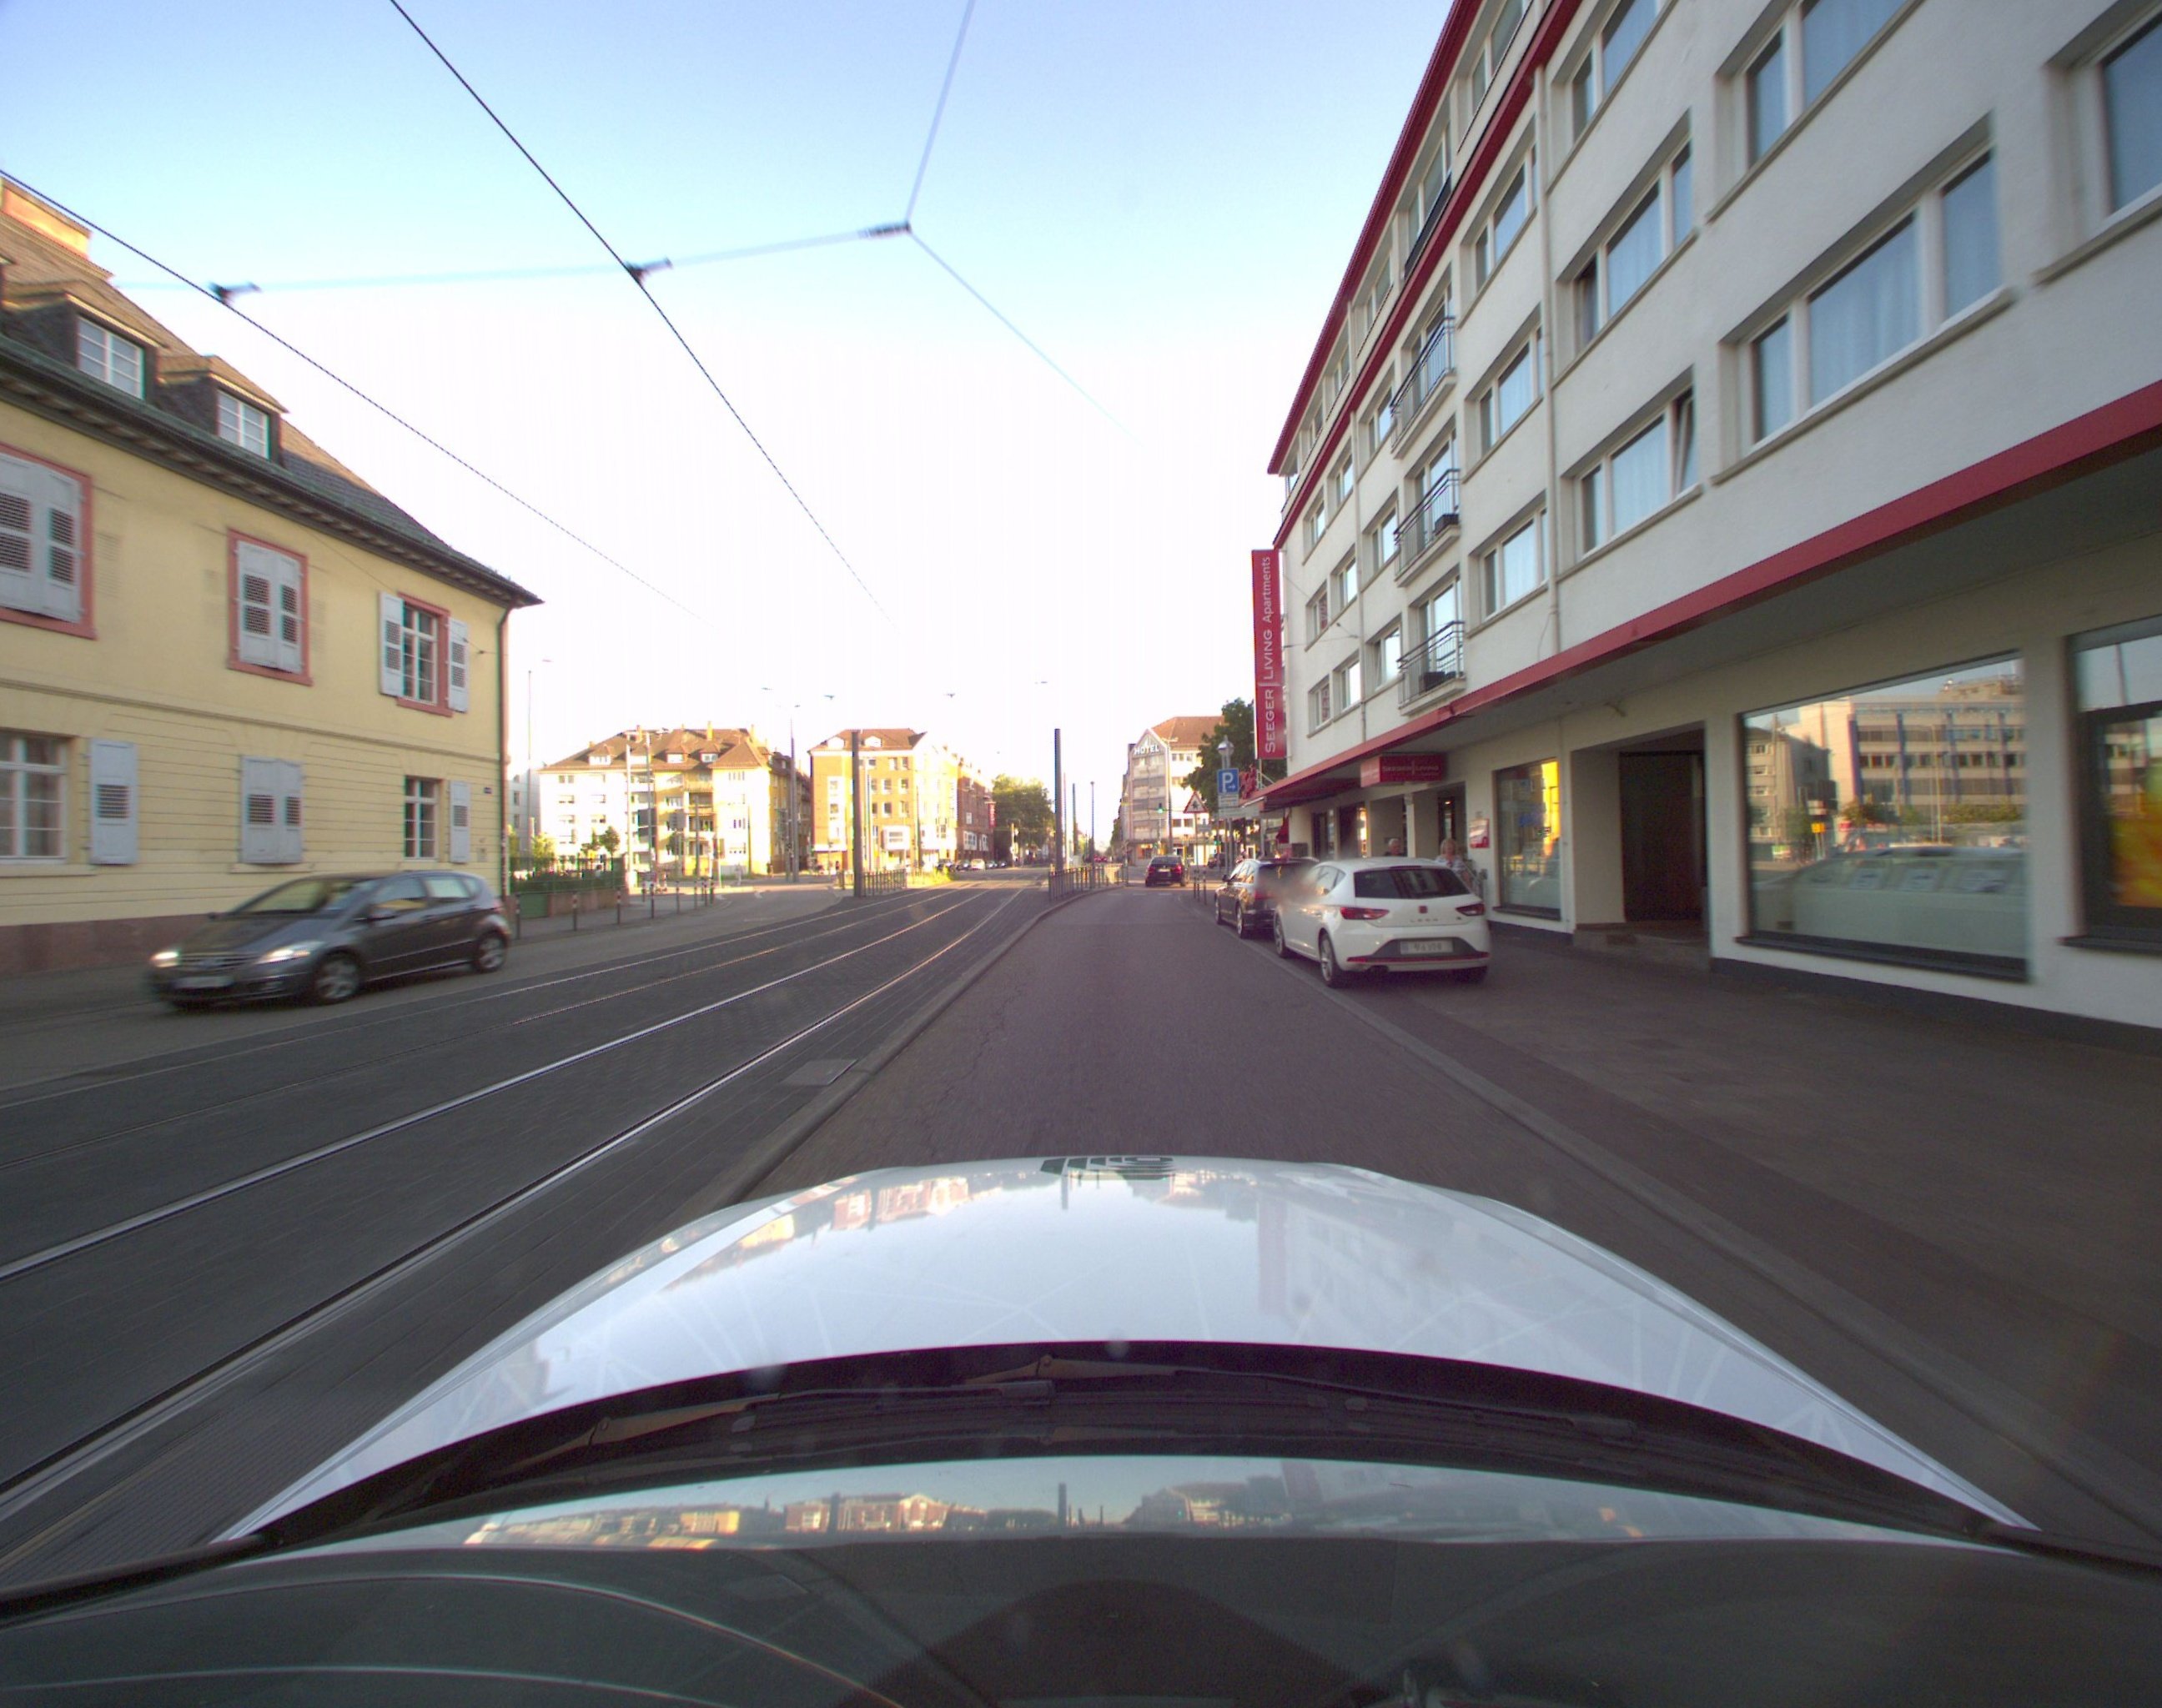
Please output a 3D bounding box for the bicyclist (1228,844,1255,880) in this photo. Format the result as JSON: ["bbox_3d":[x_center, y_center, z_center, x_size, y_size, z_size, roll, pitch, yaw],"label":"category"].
[{"bbox_3d":[8.775,0.443,44.507,0.844,1.917,1.103,-1,-1,-35],"label":"bicyclist"}]

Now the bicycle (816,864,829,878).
[{"bbox_3d":[-25.741,1.719,81.140,0.616,1.325,2.014,1,0,-2],"label":"bicycle"}]

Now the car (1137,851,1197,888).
[{"bbox_3d":[4.117,0.709,38.455,1.978,1.585,4.018,-2,0,18],"label":"car"}]

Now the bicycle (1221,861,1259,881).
[{"bbox_3d":[8.698,0.939,44.604,0.844,1.020,2.055,-1,0,-35],"label":"bicycle"}]

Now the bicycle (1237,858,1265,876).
[{"bbox_3d":[11.719,0.900,56.178,1.891,1.235,0.670,-1,-1,12],"label":"bicycle"}]

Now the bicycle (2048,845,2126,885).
[{"bbox_3d":[32.418,0.339,26.276,0.696,1.220,2.125,-1,1,24],"label":"bicycle"}]

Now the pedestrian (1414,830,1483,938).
[{"bbox_3d":[6.228,0.491,13.841,0.726,1.741,0.863,-3,-1,2],"label":"pedestrian"}]

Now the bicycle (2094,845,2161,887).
[{"bbox_3d":[33.149,0.349,25.626,0.696,1.220,2.125,-1,1,24],"label":"bicycle"}]

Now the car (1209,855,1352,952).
[{"bbox_3d":[3.651,0.821,15.733,1.728,1.512,4.688,-3,0,2],"label":"car"}]

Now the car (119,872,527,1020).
[{"bbox_3d":[-9.718,1.053,10.986,1.730,1.512,4.033,-2,0,-1],"label":"car"}]

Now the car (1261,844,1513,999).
[{"bbox_3d":[3.606,0.708,10.438,1.778,1.512,4.054,-3,0,2],"label":"car"}]

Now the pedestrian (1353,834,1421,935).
[{"bbox_3d":[5.446,0.532,14.541,0.823,1.718,0.843,-3,-1,2],"label":"pedestrian"}]

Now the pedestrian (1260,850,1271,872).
[{"bbox_3d":[14.761,0.563,65.149,0.719,1.667,0.672,-1,-1,5],"label":"pedestrian"}]

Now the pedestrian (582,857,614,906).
[{"bbox_3d":[-18.821,1.073,31.725,0.720,1.893,0.770,-2,-1,25],"label":"pedestrian"}]

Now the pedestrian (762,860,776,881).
[{"bbox_3d":[-29.855,1.582,77.881,1.099,1.944,1.019,-1,-1,-18],"label":"pedestrian"}]

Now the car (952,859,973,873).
[{"bbox_3d":[-14.807,1.503,102.222,1.987,1.585,4.585,-2,0,-1],"label":"car"}]

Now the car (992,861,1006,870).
[{"bbox_3d":[-14.734,2.093,146.380,1.987,1.585,4.477,-2,0,-1],"label":"car"}]

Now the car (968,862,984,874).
[{"bbox_3d":[-14.814,1.965,115.136,1.989,1.585,4.108,-2,0,-3],"label":"car"}]

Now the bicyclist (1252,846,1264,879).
[{"bbox_3d":[9.872,0.450,45.498,0.464,1.830,0.558,-1,-1,-7],"label":"bicyclist"}]

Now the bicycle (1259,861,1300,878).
[{"bbox_3d":[10.581,0.825,43.417,1.988,0.881,0.845,-1,-1,25],"label":"bicycle"}]

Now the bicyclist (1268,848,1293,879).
[{"bbox_3d":[10.632,0.517,43.392,1.101,1.623,0.845,-2,-1,25],"label":"bicyclist"}]

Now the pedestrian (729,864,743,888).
[{"bbox_3d":[-27.314,1.723,64.481,0.885,1.868,0.970,-1,-1,-19],"label":"pedestrian"}]

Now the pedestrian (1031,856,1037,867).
[{"bbox_3d":[-8.713,1.331,150.297,0.984,2.014,0.726,0,-1,0],"label":"pedestrian"}]

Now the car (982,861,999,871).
[{"bbox_3d":[-14.744,1.935,133.009,1.659,1.448,4.212,-1,0,9],"label":"car"}]

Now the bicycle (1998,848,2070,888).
[{"bbox_3d":[31.209,0.426,26.713,0.696,1.220,2.125,-1,1,24],"label":"bicycle"}]

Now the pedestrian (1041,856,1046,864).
[{"bbox_3d":[-8.068,1.385,175.185,0.720,1.681,0.992,-1,-1,4],"label":"pedestrian"}]

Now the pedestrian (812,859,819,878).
[{"bbox_3d":[-26.330,1.438,80.852,0.501,1.868,0.562,1,-1,-4],"label":"pedestrian"}]

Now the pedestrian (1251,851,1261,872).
[{"bbox_3d":[13.968,0.586,65.040,0.681,1.667,0.672,-1,-1,5],"label":"pedestrian"}]

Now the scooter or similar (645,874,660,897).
[{"bbox_3d":[-24.812,1.828,47.146,0.520,1.272,1.242,-1,-1,-38],"label":"scooter or similar"}]

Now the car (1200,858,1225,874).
[{"bbox_3d":[13.206,1.173,81.813,1.986,1.552,4.002,-2,0,2],"label":"car"}]

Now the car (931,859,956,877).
[{"bbox_3d":[-15.533,1.553,92.106,1.988,1.901,4.809,-2,0,-1],"label":"car"}]

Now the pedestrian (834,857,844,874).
[{"bbox_3d":[-27.006,1.308,90.760,0.939,1.868,0.836,1,-1,-8],"label":"pedestrian"}]

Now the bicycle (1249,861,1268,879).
[{"bbox_3d":[9.883,0.859,45.494,0.464,0.970,1.796,-1,0,-6],"label":"bicycle"}]
